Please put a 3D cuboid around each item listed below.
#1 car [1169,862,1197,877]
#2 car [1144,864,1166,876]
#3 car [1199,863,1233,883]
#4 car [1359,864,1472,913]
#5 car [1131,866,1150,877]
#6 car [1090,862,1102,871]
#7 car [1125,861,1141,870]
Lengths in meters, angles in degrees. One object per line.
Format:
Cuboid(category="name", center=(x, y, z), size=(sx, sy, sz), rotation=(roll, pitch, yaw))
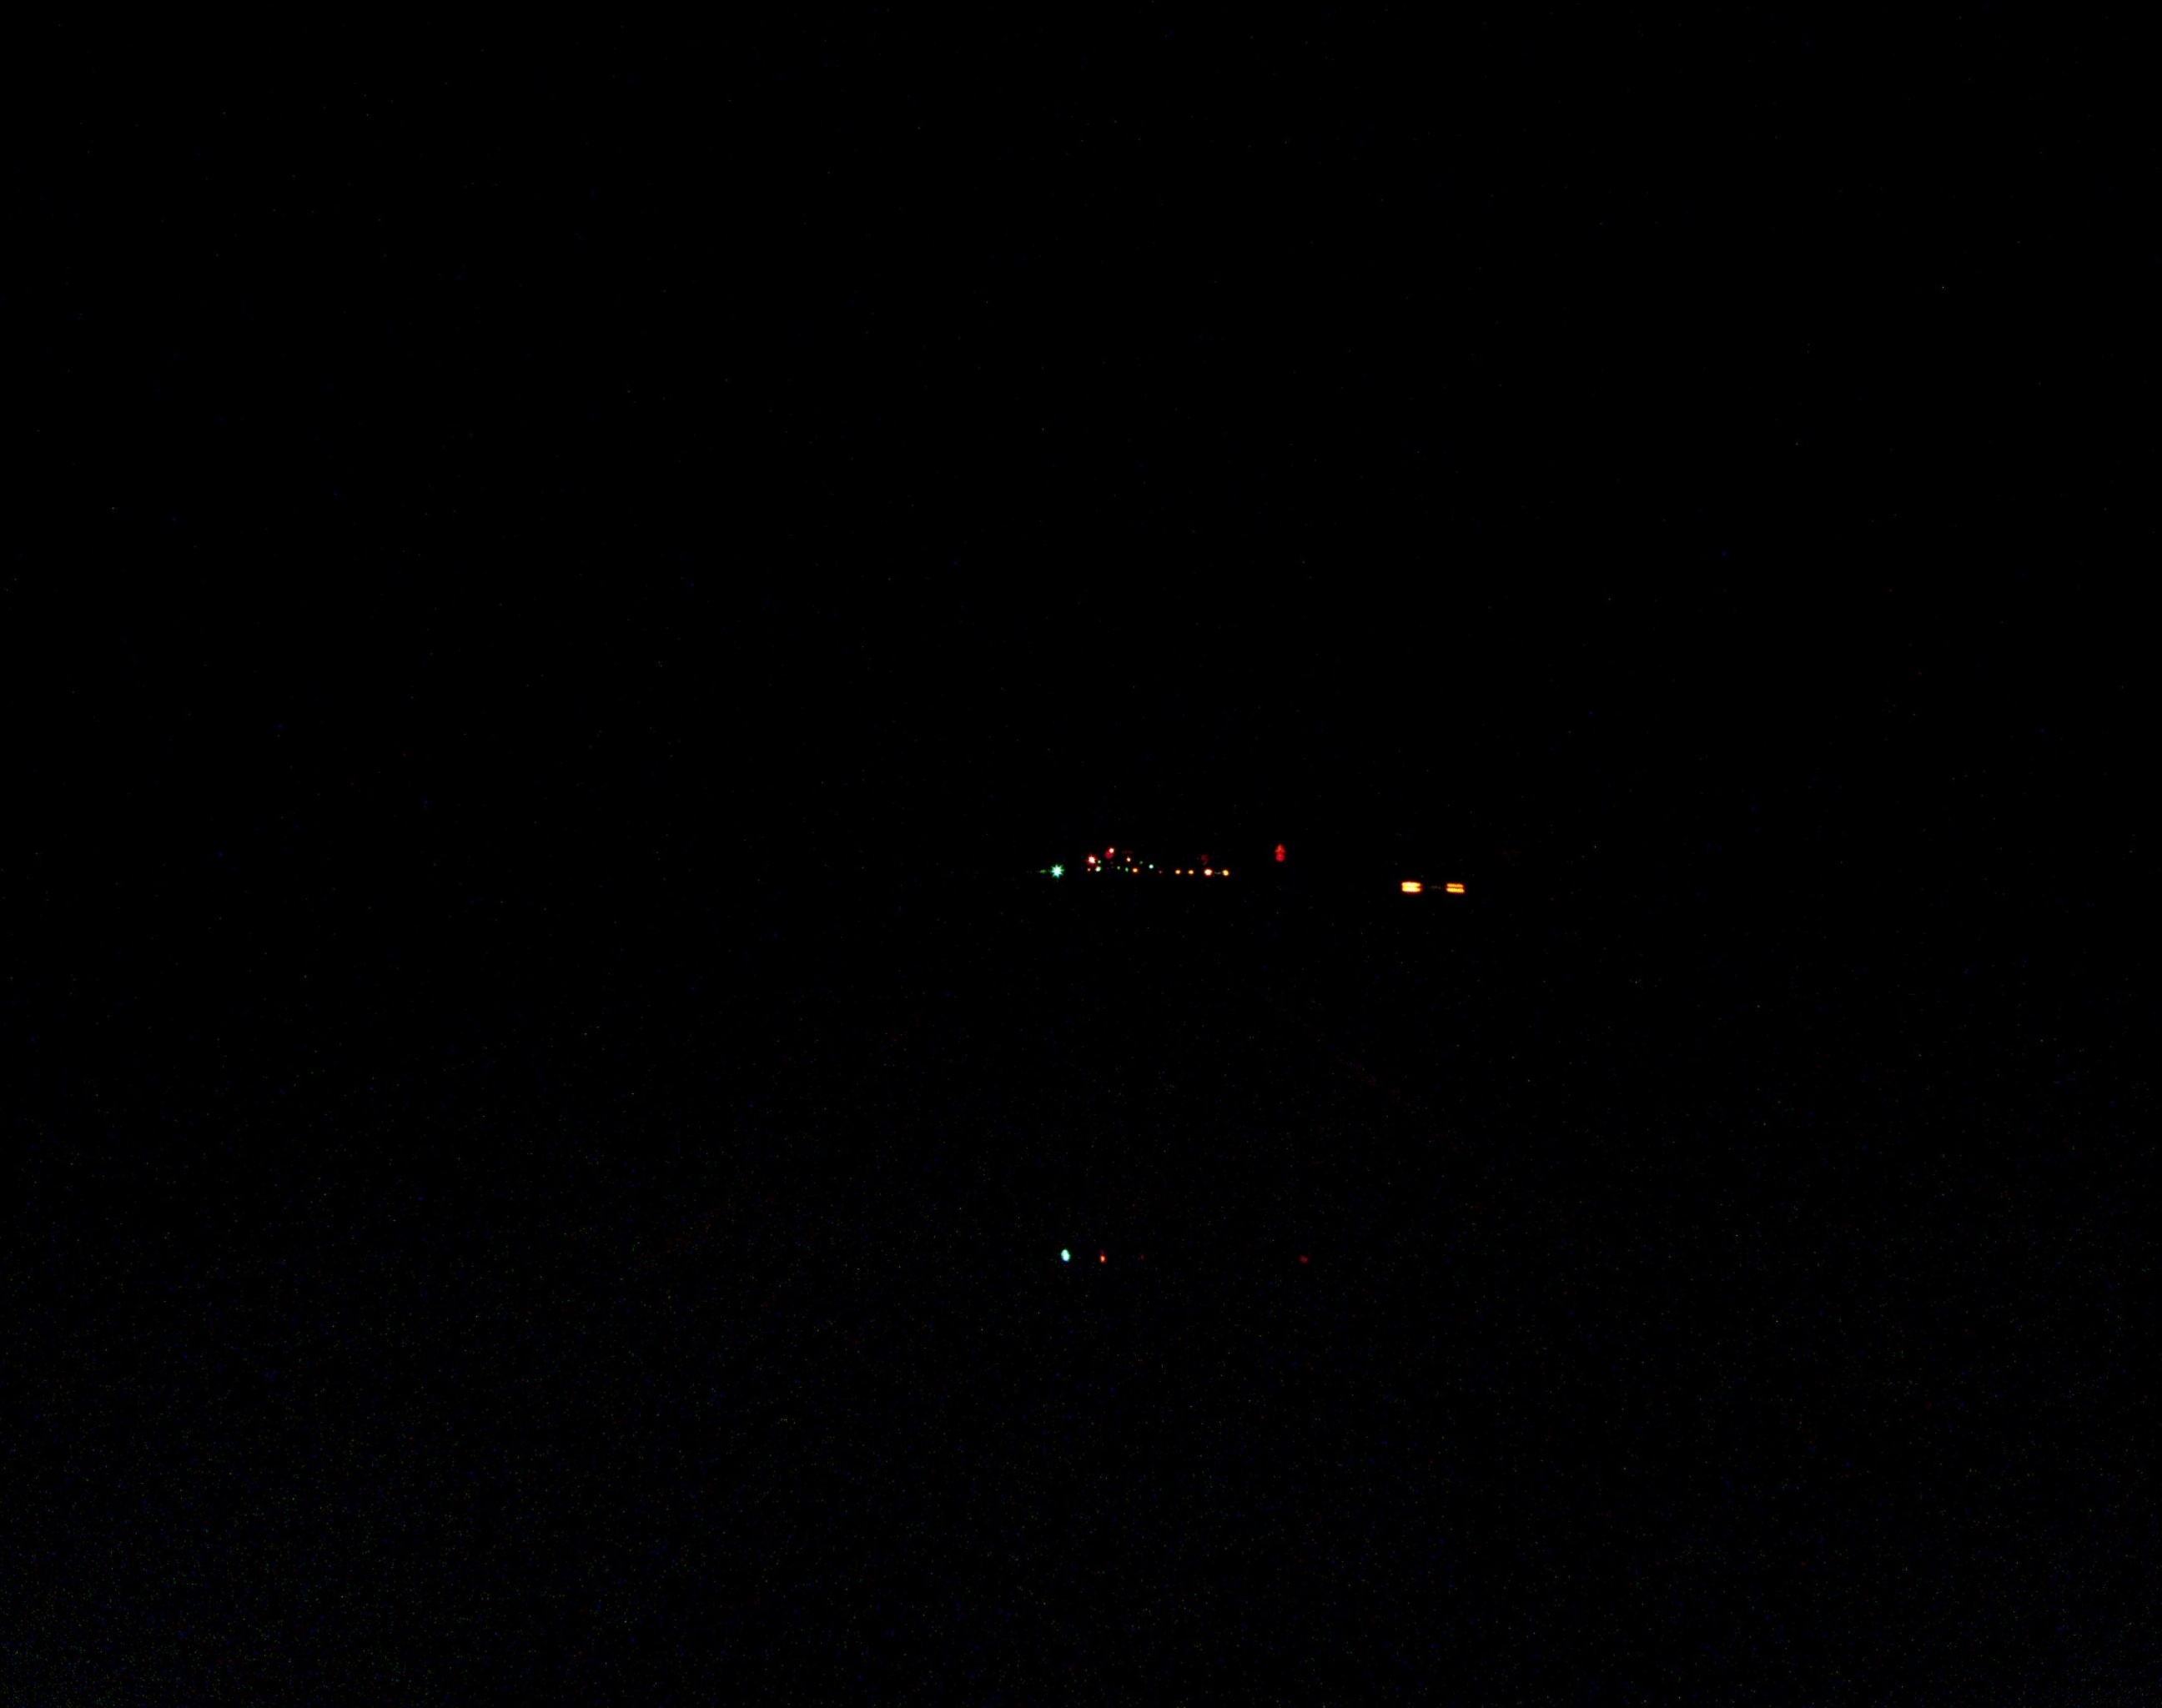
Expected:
Cuboid(category="car", center=(10.762, 1.650, 80.500), size=(2.127, 1.544, 4.697), rotation=(-1, 0, -4))
Cuboid(category="car", center=(9.967, 2.083, 102.679), size=(2.127, 1.544, 4.697), rotation=(-1, 0, -4))
Cuboid(category="car", center=(11.471, 1.558, 64.913), size=(2.127, 1.620, 4.698), rotation=(-1, 0, 0))
Cuboid(category="car", center=(11.346, 1.109, 26.169), size=(1.958, 1.477, 4.700), rotation=(1, 0, 3))
Cuboid(category="car", center=(9.036, 2.670, 115.526), size=(2.127, 1.544, 4.697), rotation=(-1, 0, -4))
Cuboid(category="car", center=(2.639, 2.233, 132.772), size=(1.931, 1.510, 4.000), rotation=(-1, 0, -1))
Cuboid(category="car", center=(9.106, 2.026, 132.270), size=(2.127, 1.544, 4.697), rotation=(-1, 0, -4))
